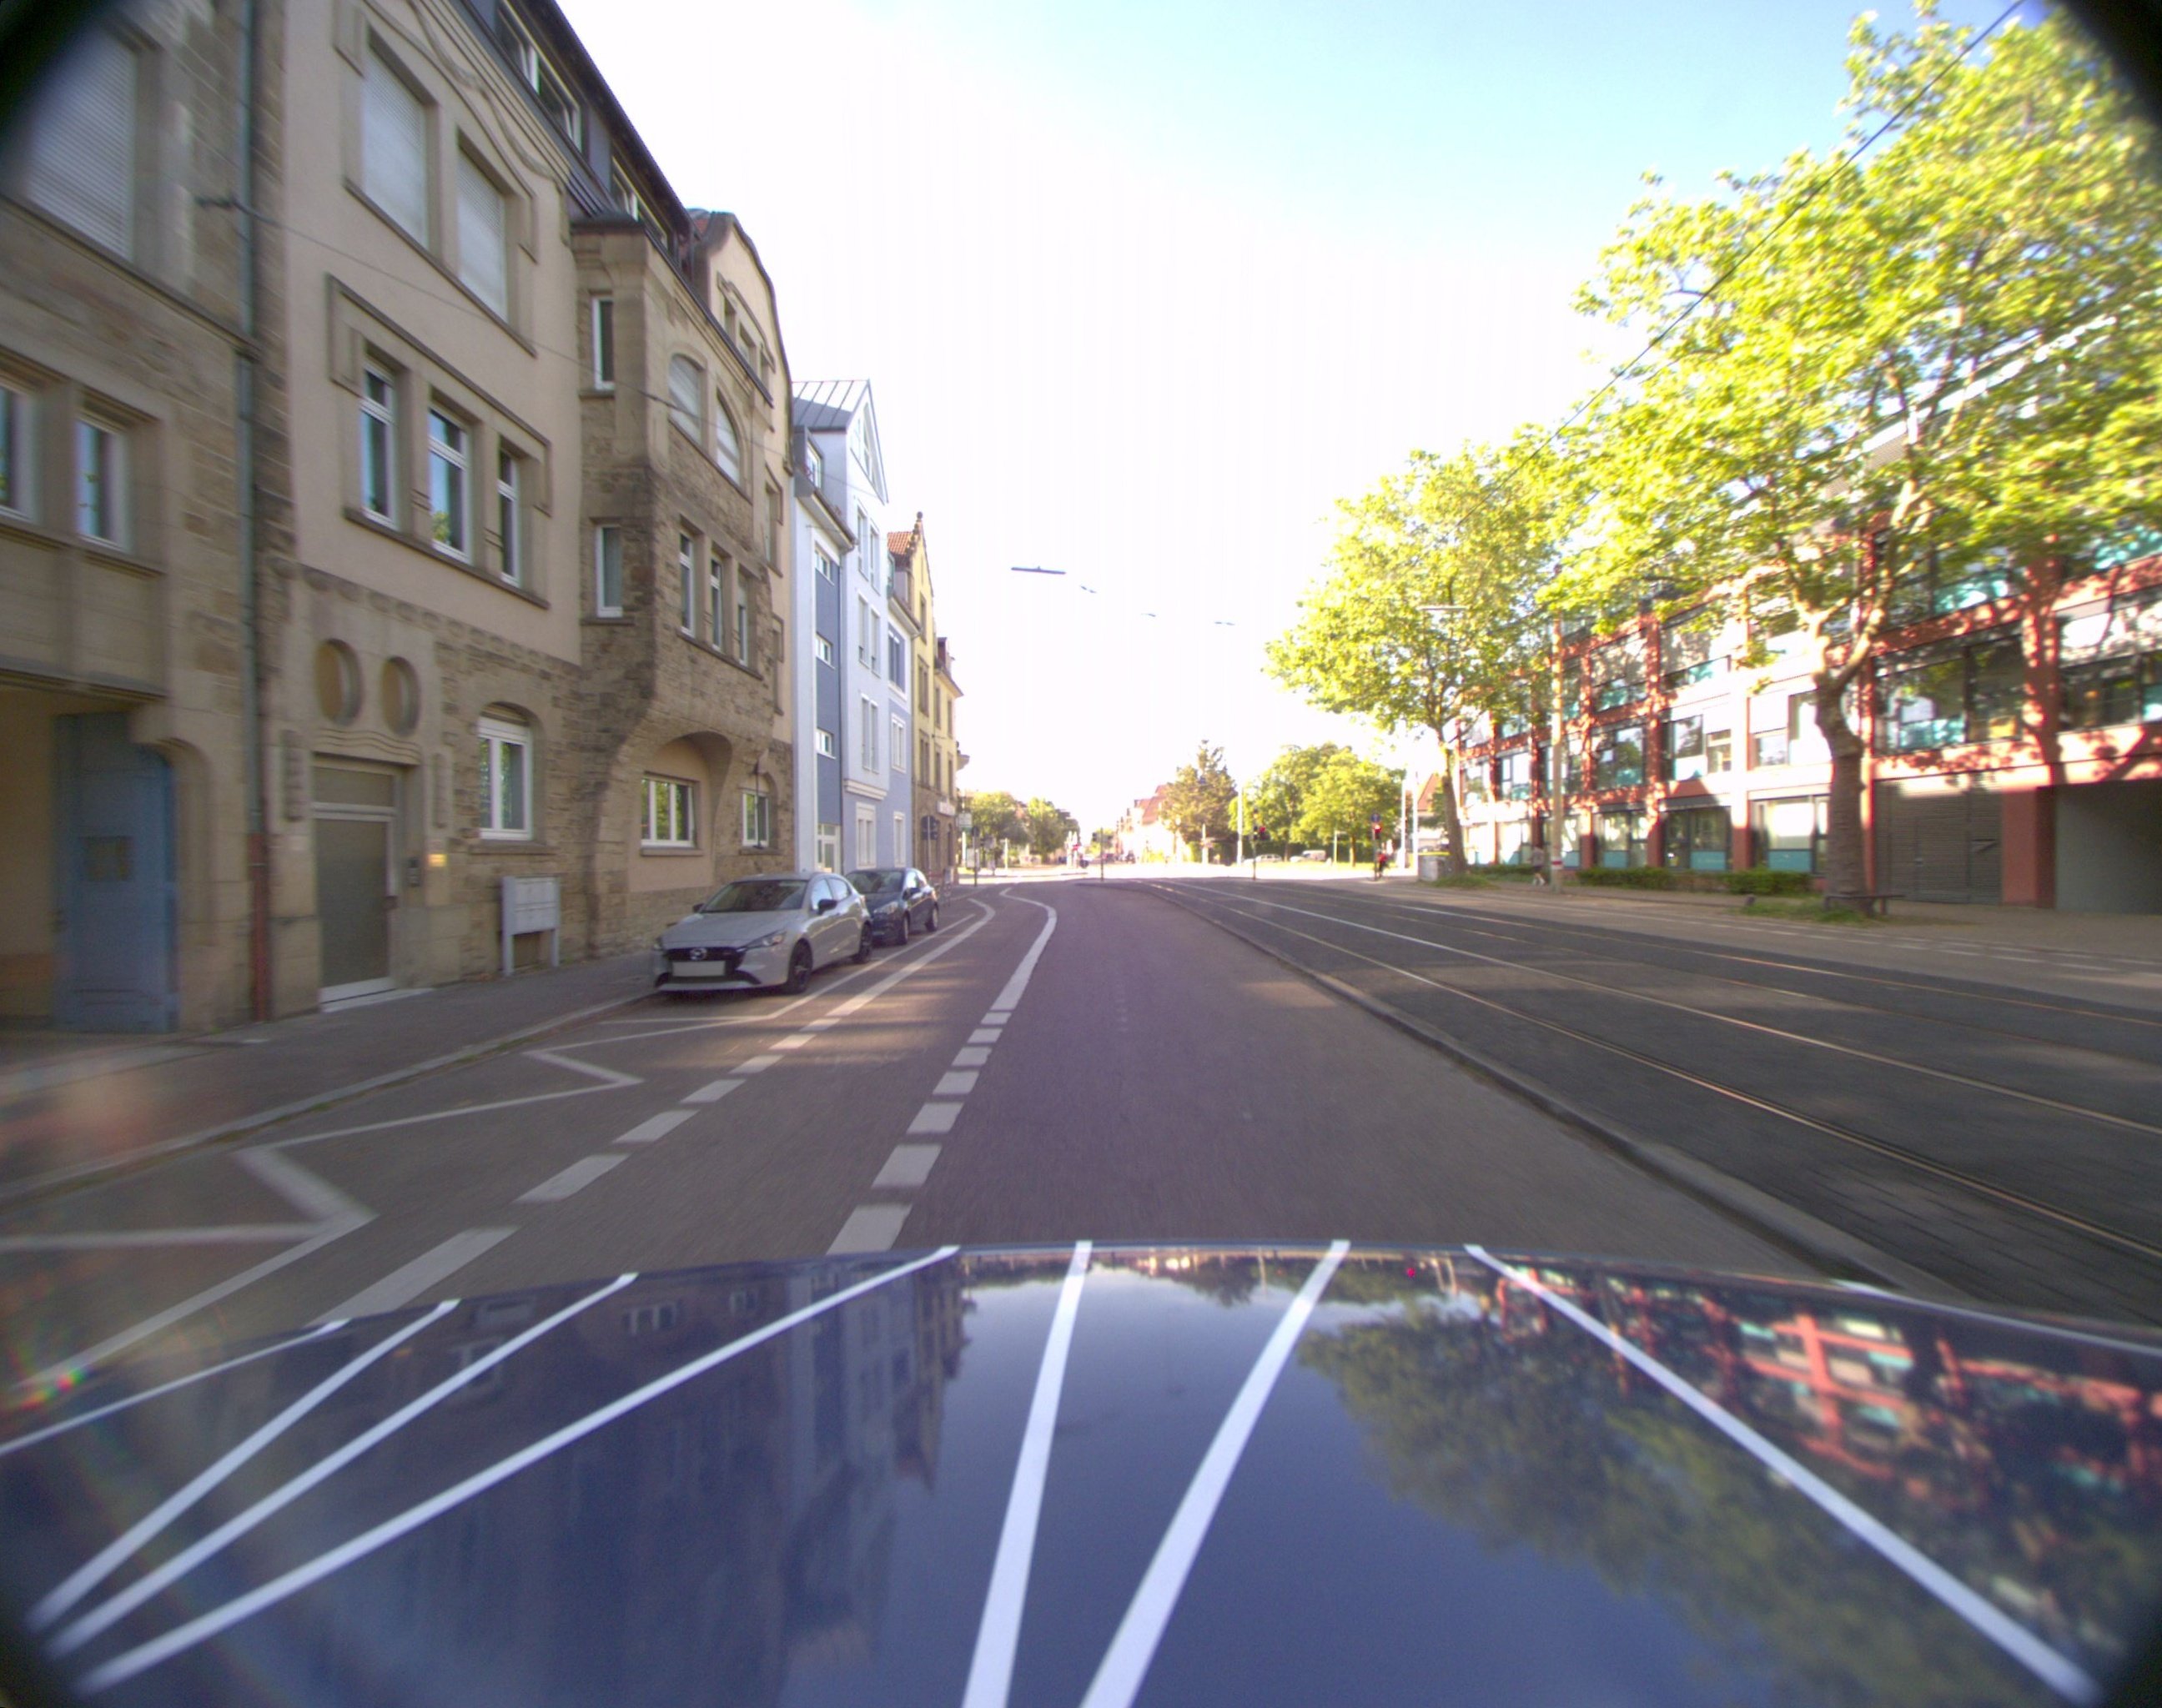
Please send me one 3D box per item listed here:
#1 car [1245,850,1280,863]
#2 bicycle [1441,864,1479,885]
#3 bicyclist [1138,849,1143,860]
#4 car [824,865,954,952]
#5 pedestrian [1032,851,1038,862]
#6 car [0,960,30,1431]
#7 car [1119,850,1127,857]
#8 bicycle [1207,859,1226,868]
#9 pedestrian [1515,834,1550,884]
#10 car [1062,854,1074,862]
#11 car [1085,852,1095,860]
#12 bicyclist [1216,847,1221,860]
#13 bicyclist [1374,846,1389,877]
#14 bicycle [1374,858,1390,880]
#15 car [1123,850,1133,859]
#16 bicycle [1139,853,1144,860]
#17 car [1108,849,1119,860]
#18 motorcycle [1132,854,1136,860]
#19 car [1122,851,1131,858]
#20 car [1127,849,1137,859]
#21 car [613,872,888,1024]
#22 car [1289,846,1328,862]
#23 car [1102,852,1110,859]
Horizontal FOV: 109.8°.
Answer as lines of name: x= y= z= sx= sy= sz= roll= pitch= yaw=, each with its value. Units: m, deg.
car: x=22.133 y=0.296 z=92.611 sx=3.995 sy=1.425 sz=1.817 roll=-1 pitch=0 yaw=6
bicycle: x=17.167 y=0.912 z=34.435 sx=0.522 sy=0.901 sz=1.541 roll=-1 pitch=1 yaw=-23
bicyclist: x=8.988 y=0.054 z=114.965 sx=0.588 sy=1.701 sz=0.901 roll=0 pitch=0 yaw=-2
car: x=-3.882 y=1.037 z=16.031 sx=1.659 sy=1.474 sz=4.000 roll=-2 pitch=0 yaw=1
pedestrian: x=-6.636 y=0.338 z=109.582 sx=0.655 sy=1.664 sz=0.943 roll=1 pitch=0 yaw=3
car: x=-4.271 y=1.086 z=0.303 sx=1.718 sy=1.492 sz=4.226 roll=-3 pitch=0 yaw=1
car: x=11.336 y=-0.058 z=204.932 sx=1.924 sy=1.705 sz=4.001 roll=-3 pitch=0 yaw=2
bicycle: x=16.734 y=1.199 z=93.619 sx=2.284 sy=1.111 sz=0.930 roll=-1 pitch=1 yaw=9
pedestrian: x=18.591 y=0.209 z=31.296 sx=0.913 sy=2.002 sz=0.780 roll=-3 pitch=0 yaw=-8
car: x=-2.561 y=0.789 z=151.600 sx=1.704 sy=1.541 sz=4.002 roll=-3 pitch=0 yaw=6
car: x=1.891 y=0.379 z=167.371 sx=1.923 sy=1.705 sz=4.001 roll=-3 pitch=0 yaw=3
bicyclist: x=16.913 y=-0.075 z=93.566 sx=0.559 sy=1.613 sz=0.899 roll=0 pitch=1 yaw=9
bicyclist: x=16.695 y=0.420 z=42.187 sx=0.605 sy=1.682 sz=0.934 roll=-2 pitch=0 yaw=26
bicycle: x=16.694 y=0.823 z=42.147 sx=0.632 sy=1.123 sz=2.038 roll=-2 pitch=1 yaw=26
car: x=10.457 y=0.112 z=168.884 sx=1.924 sy=1.705 sz=4.000 roll=-3 pitch=0 yaw=2
bicycle: x=9.128 y=0.350 z=114.896 sx=0.588 sy=1.107 sz=1.826 roll=0 pitch=0 yaw=-2
car: x=6.716 y=0.114 z=157.612 sx=2.024 sy=2.001 sz=5.252 roll=1 pitch=-1 yaw=4
motorcycle: x=9.703 y=0.541 z=139.176 sx=0.605 sy=1.040 sz=2.437 roll=-3 pitch=0 yaw=3
car: x=10.533 y=0.124 z=174.876 sx=1.924 sy=1.705 sz=4.000 roll=-3 pitch=0 yaw=1
car: x=10.393 y=0.058 z=154.296 sx=1.923 sy=1.890 sz=4.001 roll=-3 pitch=0 yaw=3
car: x=-4.188 y=1.092 z=10.494 sx=1.757 sy=1.492 sz=4.196 roll=-3 pitch=0 yaw=2
car: x=28.329 y=0.028 z=94.759 sx=4.311 sy=1.855 sz=1.817 roll=-2 pitch=-1 yaw=3
car: x=6.683 y=0.463 z=204.629 sx=1.923 sy=1.705 sz=4.001 roll=-3 pitch=0 yaw=5
